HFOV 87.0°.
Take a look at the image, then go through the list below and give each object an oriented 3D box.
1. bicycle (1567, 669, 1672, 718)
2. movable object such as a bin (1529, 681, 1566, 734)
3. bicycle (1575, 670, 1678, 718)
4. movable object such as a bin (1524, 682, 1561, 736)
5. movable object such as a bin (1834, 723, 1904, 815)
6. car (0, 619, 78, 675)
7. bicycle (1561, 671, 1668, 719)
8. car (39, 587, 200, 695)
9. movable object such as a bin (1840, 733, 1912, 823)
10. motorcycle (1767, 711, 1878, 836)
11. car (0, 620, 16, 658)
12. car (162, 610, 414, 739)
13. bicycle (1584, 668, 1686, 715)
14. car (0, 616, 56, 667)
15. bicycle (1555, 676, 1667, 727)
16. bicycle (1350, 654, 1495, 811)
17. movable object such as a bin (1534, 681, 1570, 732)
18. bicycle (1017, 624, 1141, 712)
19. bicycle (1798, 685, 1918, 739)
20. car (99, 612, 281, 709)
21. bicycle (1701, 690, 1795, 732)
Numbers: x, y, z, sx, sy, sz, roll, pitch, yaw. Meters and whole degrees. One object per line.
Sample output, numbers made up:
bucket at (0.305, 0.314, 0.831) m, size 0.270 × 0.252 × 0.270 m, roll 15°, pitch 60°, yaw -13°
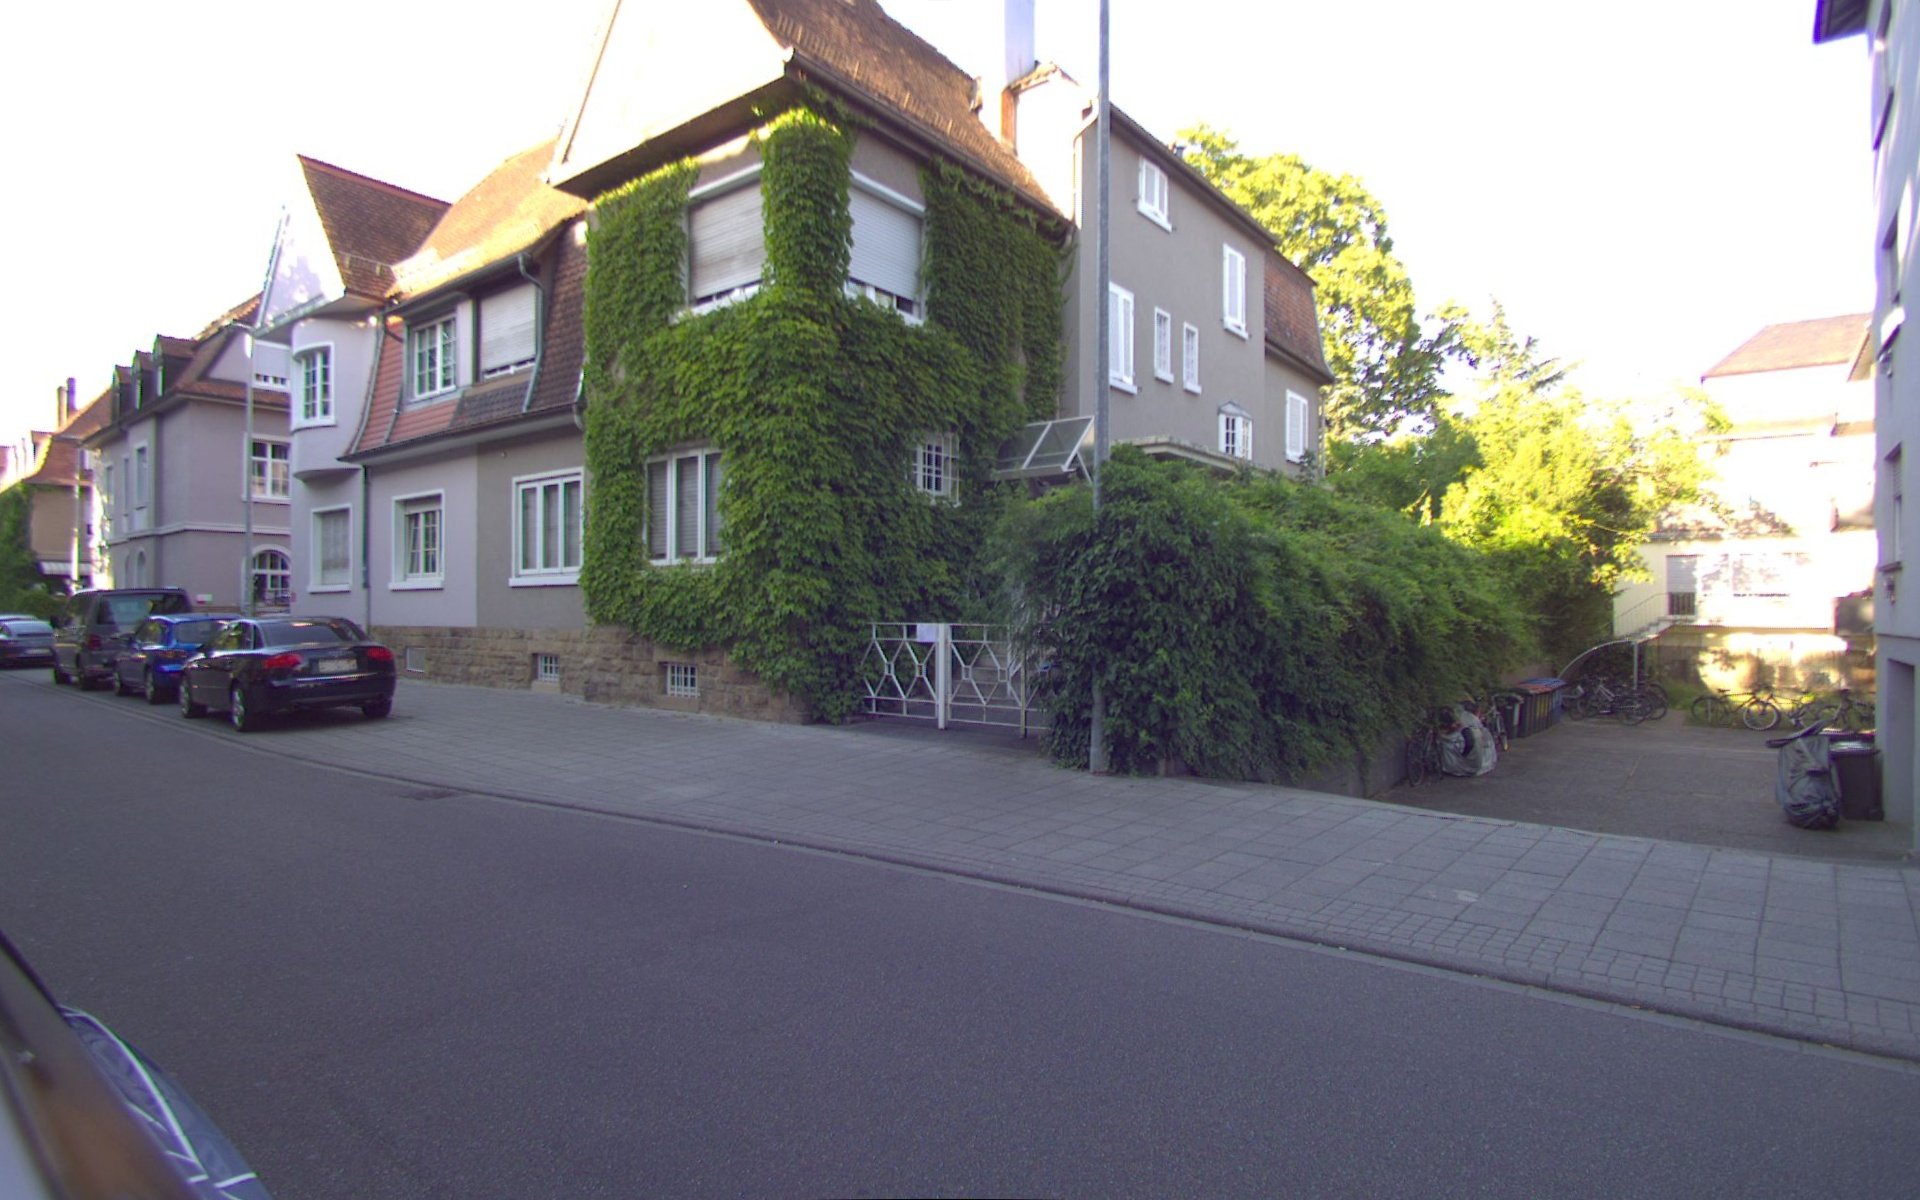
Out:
bicycle at (18.061, 2.544, 27.761) m, size 2.338 × 1.186 × 0.685 m, roll -1°, pitch -4°, yaw 42°
movable object such as a bin at (13.183, 2.402, 22.712) m, size 0.611 × 1.123 × 0.792 m, roll -1°, pitch -4°, yaw 37°
bicycle at (18.619, 2.605, 28.328) m, size 2.338 × 1.186 × 0.685 m, roll -1°, pitch -4°, yaw 42°
movable object such as a bin at (12.707, 2.367, 22.070) m, size 0.611 × 1.123 × 0.792 m, roll -1°, pitch -4°, yaw 37°
movable object such as a bin at (12.303, 2.265, 13.724) m, size 0.611 × 1.123 × 0.792 m, roll -1°, pitch -4°, yaw 37°
car at (-26.155, 1.268, 28.293) m, size 4.063 × 1.394 × 1.906 m, roll -1°, pitch 1°, yaw 44°
bicycle at (17.510, 2.517, 27.108) m, size 2.338 × 1.142 × 0.685 m, roll -1°, pitch -4°, yaw 42°
car at (-17.521, 0.787, 21.011) m, size 4.610 × 1.990 × 1.819 m, roll -1°, pitch 1°, yaw 41°
movable object such as a bin at (11.721, 2.261, 12.962) m, size 0.611 × 1.045 × 0.532 m, roll -1°, pitch -4°, yaw 37°
motorcycle at (10.712, 2.106, 12.621) m, size 0.742 × 1.305 × 1.565 m, roll -1°, pitch -2°, yaw 30°
car at (-36.320, 1.444, 37.504) m, size 3.676 × 1.372 × 1.641 m, roll -1°, pitch 1°, yaw 42°
car at (-9.405, 0.909, 14.021) m, size 4.426 × 1.457 × 1.783 m, roll -1°, pitch 1°, yaw 41°
bicycle at (19.204, 2.584, 28.826) m, size 2.338 × 1.186 × 0.685 m, roll -1°, pitch -4°, yaw 42°
car at (-30.169, 1.299, 32.026) m, size 4.061 × 1.478 × 1.907 m, roll -1°, pitch 1°, yaw 42°
bicycle at (16.245, 2.508, 25.298) m, size 2.294 × 1.142 × 0.685 m, roll -1°, pitch -4°, yaw 42°
bicycle at (6.829, 1.775, 14.749) m, size 0.971 × 1.907 × 4.138 m, roll -1°, pitch -2°, yaw 38°
movable object such as a bin at (13.653, 2.435, 23.344) m, size 0.611 × 1.123 × 0.792 m, roll -1°, pitch -4°, yaw 37°
bicycle at (1.708, 0.909, 14.179) m, size 0.476 × 1.111 × 2.172 m, roll -1°, pitch -1°, yaw 45°
bicycle at (20.375, 2.525, 23.022) m, size 2.005 × 1.080 × 0.558 m, roll -1°, pitch -4°, yaw 42°
car at (-13.632, 0.981, 17.841) m, size 4.060 × 1.457 × 1.745 m, roll -1°, pitch 1°, yaw 41°
bicycle at (18.898, 2.650, 24.297) m, size 1.754 × 0.886 × 0.558 m, roll -1°, pitch -4°, yaw 42°
